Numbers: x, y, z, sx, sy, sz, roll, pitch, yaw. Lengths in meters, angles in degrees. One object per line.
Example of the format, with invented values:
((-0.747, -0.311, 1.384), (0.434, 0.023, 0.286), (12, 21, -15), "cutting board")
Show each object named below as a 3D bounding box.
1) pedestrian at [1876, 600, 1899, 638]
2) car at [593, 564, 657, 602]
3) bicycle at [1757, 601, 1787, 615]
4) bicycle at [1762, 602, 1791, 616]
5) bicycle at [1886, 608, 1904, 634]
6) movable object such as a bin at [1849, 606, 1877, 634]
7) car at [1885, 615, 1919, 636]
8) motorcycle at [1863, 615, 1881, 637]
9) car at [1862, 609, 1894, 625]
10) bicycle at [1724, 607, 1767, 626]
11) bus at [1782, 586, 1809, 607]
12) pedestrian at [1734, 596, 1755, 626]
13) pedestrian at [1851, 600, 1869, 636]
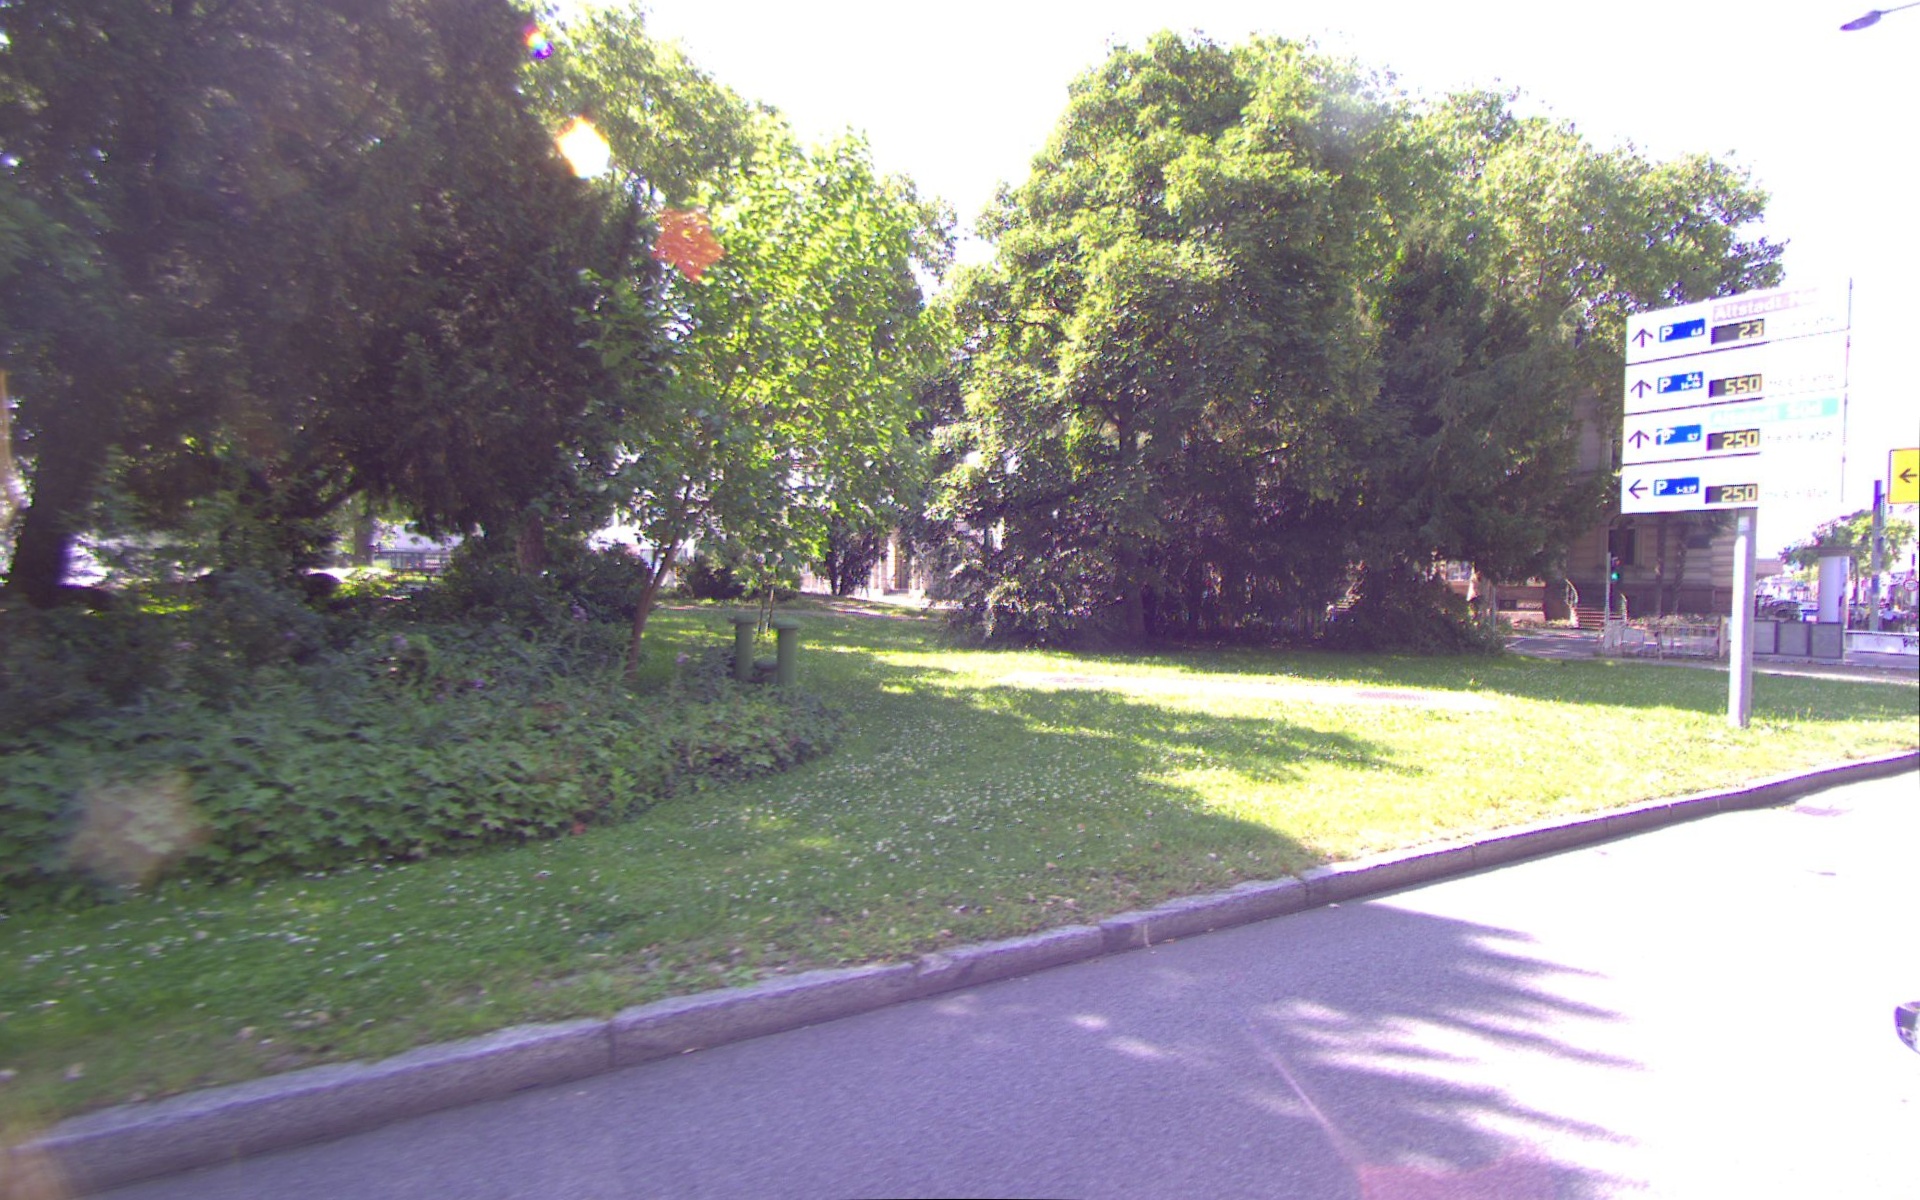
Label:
((42.920, 0.879, 46.495), (0.686, 1.717, 0.688), (1, 0, 39), "pedestrian")
((-20.472, -1.063, 61.400), (3.996, 2.197, 1.926), (3, 3, 40), "car")
((78.044, 0.739, 96.508), (2.031, 1.236, 0.760), (4, 2, 21), "bicycle")
((75.976, 0.818, 93.504), (2.039, 1.145, 0.615), (5, 3, 38), "bicycle")
((43.366, 0.968, 46.581), (2.227, 1.135, 0.425), (3, 1, -43), "bicycle")
((52.689, 1.154, 58.623), (1.111, 1.470, 1.430), (4, 4, 42), "movable object such as a bin")
((72.477, 1.974, 76.922), (1.838, 1.460, 3.987), (2, -1, 35), "car")
((42.883, 1.206, 47.209), (2.146, 1.011, 0.449), (1, 2, -45), "motorcycle")
((92.287, 1.700, 101.042), (1.838, 1.460, 3.986), (1, 1, 35), "car")
((47.777, 1.016, 61.131), (0.486, 1.076, 2.004), (1, 1, -39), "bicycle")
((155.546, -0.705, 187.004), (2.732, 3.653, 8.948), (1, 1, 33), "bus")
((47.966, 0.668, 61.378), (0.993, 1.797, 0.777), (1, 1, -40), "pedestrian")
((42.552, 0.840, 47.486), (0.543, 1.687, 0.931), (1, 0, 45), "pedestrian")
